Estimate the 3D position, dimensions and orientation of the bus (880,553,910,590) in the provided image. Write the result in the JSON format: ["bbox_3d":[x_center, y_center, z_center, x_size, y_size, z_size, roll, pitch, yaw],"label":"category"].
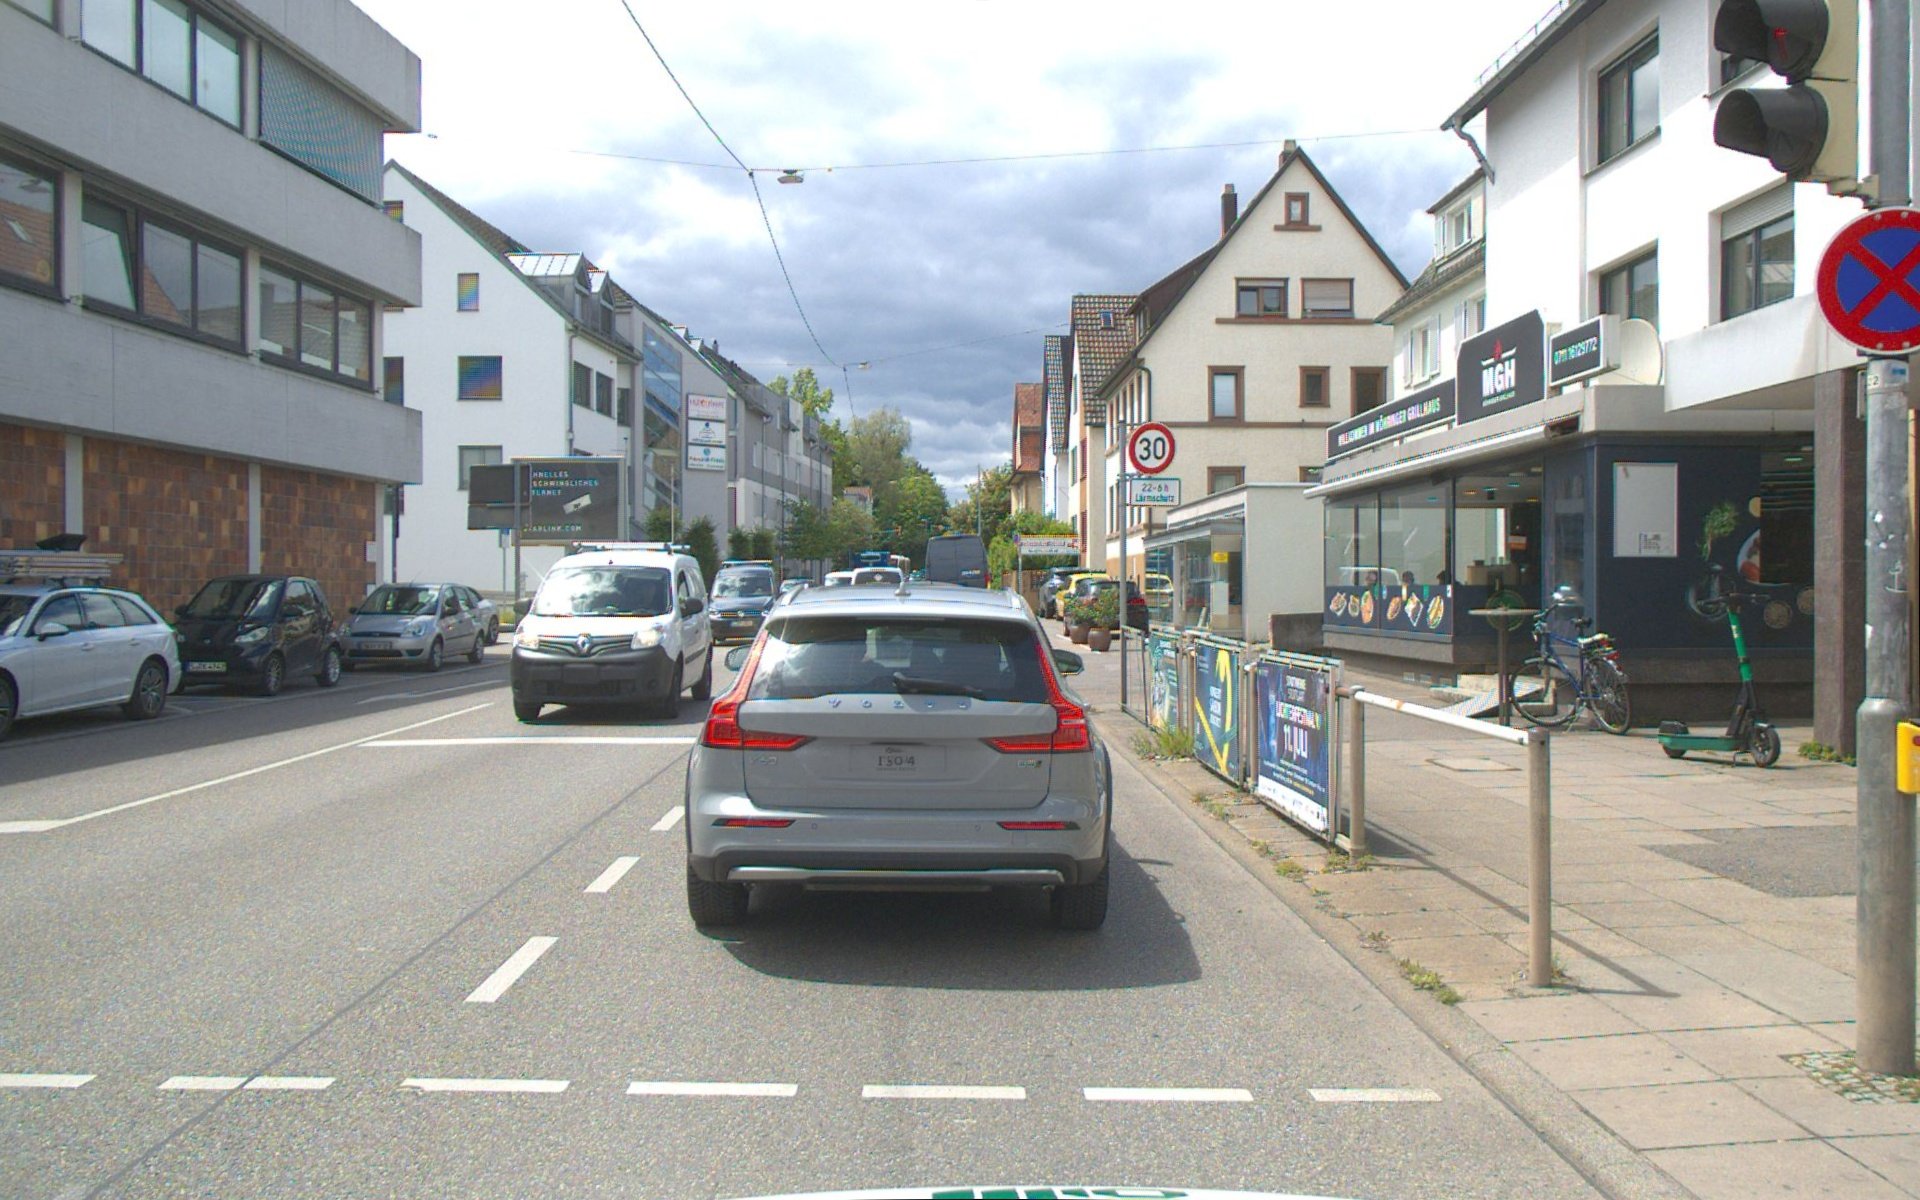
[{"bbox_3d":[-5.322,-2.387,137.259,2.230,2.951,7.078,-1,1,-1],"label":"bus"}]

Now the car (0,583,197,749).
[{"bbox_3d":[-9.718,0.598,16.615,1.864,1.468,4.445,1,1,3],"label":"car"}]

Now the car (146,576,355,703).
[{"bbox_3d":[-9.565,0.485,22.519,1.575,1.570,2.944,1,1,-1],"label":"car"}]

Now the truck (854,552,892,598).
[{"bbox_3d":[-5.826,-1.696,111.819,2.229,2.937,7.078,-1,1,-1],"label":"truck"}]

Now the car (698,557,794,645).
[{"bbox_3d":[-5.032,0.012,39.376,1.801,1.951,4.530,-1,0,-2],"label":"car"}]

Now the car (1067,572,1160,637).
[{"bbox_3d":[3.699,0.128,40.498,1.676,1.490,3.997,1,-1,-3],"label":"car"}]

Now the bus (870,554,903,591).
[{"bbox_3d":[-5.657,-2.121,127.750,2.230,2.714,7.429,-1,1,-1],"label":"bus"}]

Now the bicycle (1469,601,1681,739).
[{"bbox_3d":[5.732,0.611,15.588,0.546,1.164,2.287,-1,1,-19],"label":"bicycle"}]

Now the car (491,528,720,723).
[{"bbox_3d":[-3.874,0.249,18.754,1.801,1.951,4.154,1,0,-2],"label":"car"}]

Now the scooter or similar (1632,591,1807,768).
[{"bbox_3d":[5.791,0.592,12.663,0.336,1.275,1.235,-3,0,-27],"label":"scooter or similar"}]

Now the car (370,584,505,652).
[{"bbox_3d":[-11.779,0.366,37.545,1.867,1.422,3.841,-1,1,-1],"label":"car"}]

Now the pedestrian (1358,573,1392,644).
[{"bbox_3d":[6.312,0.120,25.172,0.406,1.070,0.367,-1,1,-3],"label":"pedestrian"}]

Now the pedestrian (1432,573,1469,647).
[{"bbox_3d":[7.183,0.148,24.231,0.406,1.070,0.367,-1,1,-3],"label":"pedestrian"}]

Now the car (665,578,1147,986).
[{"bbox_3d":[-0.263,0.661,8.184,1.799,1.512,3.999,0,0,-2],"label":"car"}]

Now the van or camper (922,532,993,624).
[{"bbox_3d":[-0.091,-0.709,52.077,2.080,2.733,4.781,-1,1,-1],"label":"van or camper"}]

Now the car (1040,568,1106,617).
[{"bbox_3d":[3.665,-0.211,54.154,1.844,1.526,3.970,0,-1,-1],"label":"car"}]

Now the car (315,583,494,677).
[{"bbox_3d":[-9.541,0.469,28.720,1.719,1.451,3.863,-1,1,1],"label":"car"}]

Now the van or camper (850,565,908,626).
[{"bbox_3d":[-2.575,-0.104,53.348,1.782,1.867,3.998,0,-1,-2],"label":"van or camper"}]

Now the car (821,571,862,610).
[{"bbox_3d":[-5.878,-0.427,82.109,1.761,1.848,3.999,0,-1,-1],"label":"car"}]

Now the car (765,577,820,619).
[{"bbox_3d":[-6.212,-0.093,61.625,1.727,1.451,3.999,-1,1,-2],"label":"car"}]

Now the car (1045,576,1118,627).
[{"bbox_3d":[3.618,0.066,49.782,1.844,1.440,3.970,0,-1,-1],"label":"car"}]

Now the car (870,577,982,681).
[{"bbox_3d":[-0.545,0.417,25.891,1.617,1.508,3.606,1,0,-2],"label":"car"}]

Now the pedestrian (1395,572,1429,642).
[{"bbox_3d":[7.003,0.107,25.634,0.406,1.070,0.367,-1,1,-3],"label":"pedestrian"}]
